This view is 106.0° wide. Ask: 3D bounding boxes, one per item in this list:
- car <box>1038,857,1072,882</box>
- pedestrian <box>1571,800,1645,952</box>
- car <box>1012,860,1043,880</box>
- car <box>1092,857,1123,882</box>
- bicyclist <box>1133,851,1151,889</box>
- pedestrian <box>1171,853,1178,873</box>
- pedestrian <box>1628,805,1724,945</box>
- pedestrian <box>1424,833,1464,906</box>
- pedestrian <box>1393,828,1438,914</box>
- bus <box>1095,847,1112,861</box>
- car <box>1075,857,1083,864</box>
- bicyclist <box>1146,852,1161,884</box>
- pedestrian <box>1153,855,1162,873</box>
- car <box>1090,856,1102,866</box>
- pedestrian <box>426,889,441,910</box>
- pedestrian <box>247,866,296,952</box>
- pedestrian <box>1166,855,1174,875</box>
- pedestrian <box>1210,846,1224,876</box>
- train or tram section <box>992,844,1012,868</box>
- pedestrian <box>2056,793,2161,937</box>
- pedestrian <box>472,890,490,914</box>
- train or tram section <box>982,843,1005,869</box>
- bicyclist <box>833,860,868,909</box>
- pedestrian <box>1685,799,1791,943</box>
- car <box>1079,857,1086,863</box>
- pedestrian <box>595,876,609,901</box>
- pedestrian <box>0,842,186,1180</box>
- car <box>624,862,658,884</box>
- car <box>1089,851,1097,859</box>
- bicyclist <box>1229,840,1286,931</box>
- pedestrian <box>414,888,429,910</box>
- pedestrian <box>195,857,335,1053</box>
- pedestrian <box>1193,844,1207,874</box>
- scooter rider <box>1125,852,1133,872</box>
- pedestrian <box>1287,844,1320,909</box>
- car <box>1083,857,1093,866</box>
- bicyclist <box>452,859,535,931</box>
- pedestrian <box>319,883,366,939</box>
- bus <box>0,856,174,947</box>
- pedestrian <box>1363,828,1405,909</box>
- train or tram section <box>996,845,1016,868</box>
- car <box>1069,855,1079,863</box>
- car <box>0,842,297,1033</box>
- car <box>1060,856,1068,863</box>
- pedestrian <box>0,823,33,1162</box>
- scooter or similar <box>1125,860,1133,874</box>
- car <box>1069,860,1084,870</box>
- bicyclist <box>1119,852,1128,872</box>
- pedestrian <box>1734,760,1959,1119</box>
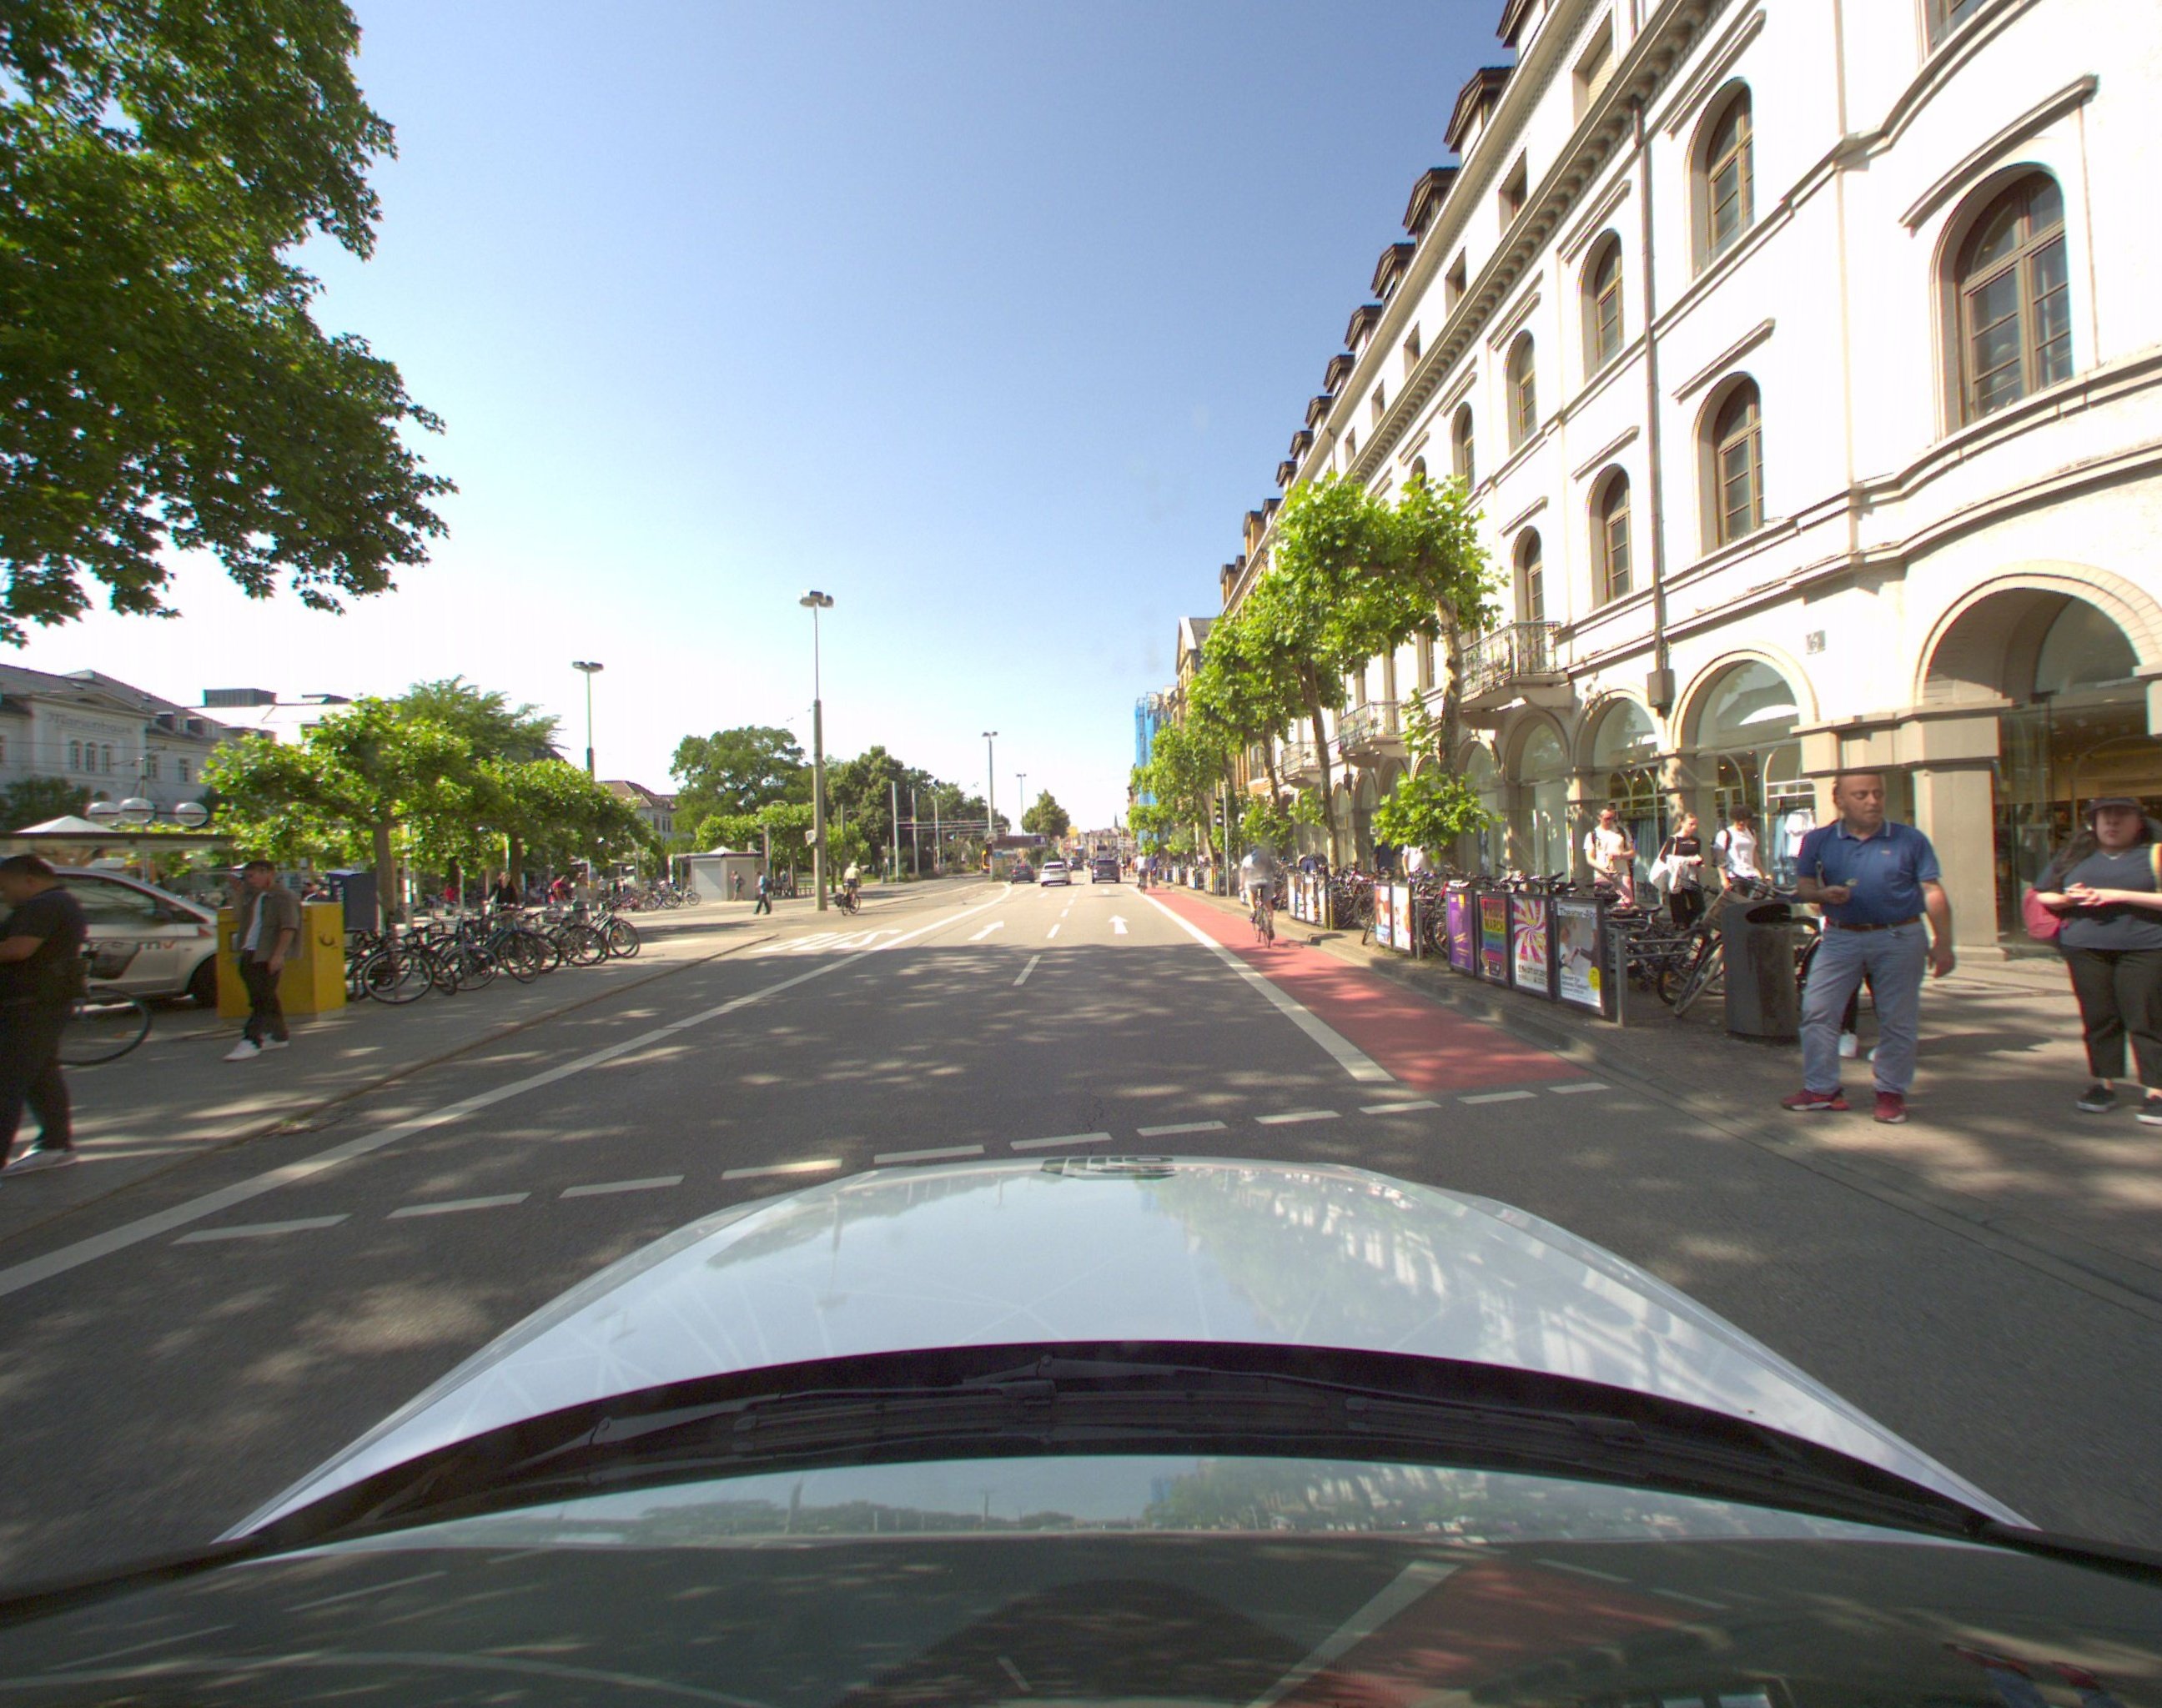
[{"bbox_3d":[-1.582,0.964,50.776,1.852,1.507,4.001,0,-1,1],"label":"car"},{"bbox_3d":[6.682,0.272,10.349,0.543,1.882,0.602,0,-1,-2],"label":"pedestrian"},{"bbox_3d":[-3.992,1.198,61.496,1.986,1.508,4.001,0,-1,1],"label":"car"},{"bbox_3d":[1.678,0.948,51.605,1.867,1.493,4.001,0,-1,1],"label":"car"},{"bbox_3d":[2.578,0.678,34.540,0.686,1.577,1.049,0,-1,1],"label":"bicyclist"},{"bbox_3d":[8.196,0.773,71.220,0.380,1.683,0.475,-3,-1,-7],"label":"pedestrian"},{"bbox_3d":[7.634,0.263,10.476,0.672,1.740,0.753,0,-1,-2],"label":"pedestrian"},{"bbox_3d":[8.506,0.358,19.092,0.654,1.696,0.676,0,-1,2],"label":"pedestrian"},{"bbox_3d":[7.146,0.351,17.428,0.631,1.793,0.776,0,-1,-2],"label":"pedestrian"},{"bbox_3d":[4.334,0.028,160.040,2.961,2.776,8.635,0,0,-2],"label":"bus"},{"bbox_3d":[-0.420,1.169,151.267,1.447,1.301,3.341,0,-1,0],"label":"car"},{"bbox_3d":[3.595,0.700,40.694,0.686,1.616,0.918,0,-1,1],"label":"bicyclist"},{"bbox_3d":[8.019,1.015,85.093,0.810,1.848,0.893,-3,-1,8],"label":"pedestrian"},{"bbox_3d":[2.044,0.983,111.609,1.448,1.301,3.337,0,-1,-3],"label":"car"},{"bbox_3d":[-39.633,2.788,49.856,0.513,1.263,0.455,-4,0,17],"label":"pedestrian"},{"bbox_3d":[-17.774,1.194,17.886,0.628,1.794,0.672,-4,0,-42],"label":"pedestrian"},{"bbox_3d":[7.746,0.933,71.061,0.498,1.683,0.535,-3,-1,-10],"label":"pedestrian"},{"bbox_3d":[8.248,0.398,49.350,0.664,1.781,0.986,-2,-1,5],"label":"pedestrian"},{"bbox_3d":[-12.207,0.352,126.501,2.605,3.581,5.356,0,-1,0],"label":"train or tram section"},{"bbox_3d":[12.389,0.130,9.826,0.614,1.668,0.691,-1,-1,35],"label":"pedestrian"},{"bbox_3d":[-38.762,3.090,52.639,0.620,1.466,0.682,-2,-2,7],"label":"pedestrian"},{"bbox_3d":[-12.284,0.258,114.692,2.605,3.581,6.103,0,-1,0],"label":"train or tram section"},{"bbox_3d":[-7.987,1.029,28.250,0.814,1.622,0.903,-3,0,3],"label":"bicyclist"},{"bbox_3d":[8.421,0.214,10.472,0.717,1.782,0.776,0,-1,-2],"label":"pedestrian"},{"bbox_3d":[0.394,1.323,174.339,1.447,1.301,3.340,0,-1,-1],"label":"car"},{"bbox_3d":[-28.557,2.076,48.579,0.683,1.466,0.618,0,-2,-36],"label":"pedestrian"},{"bbox_3d":[-5.436,0.766,4.326,0.623,1.648,0.756,0,-1,26],"label":"pedestrian"},{"bbox_3d":[-67.410,2.913,124.900,2.120,3.316,5.419,0,-1,0],"label":"car"},{"bbox_3d":[3.158,0.198,207.272,1.986,2.014,4.001,0,-1,1],"label":"car"},{"bbox_3d":[2.940,0.511,13.671,0.686,1.463,1.142,0,-1,-1],"label":"bicyclist"},{"bbox_3d":[-40.014,2.743,49.419,0.513,1.263,0.455,-4,0,17],"label":"pedestrian"},{"bbox_3d":[-7.428,0.879,7.448,0.642,1.691,0.640,0,-1,-13],"label":"pedestrian"},{"bbox_3d":[6.332,0.266,43.436,0.651,1.633,0.730,0,-1,-2],"label":"pedestrian"},{"bbox_3d":[4.070,0.665,68.918,0.686,1.729,0.778,0,-1,0],"label":"scooter rider"},{"bbox_3d":[5.315,0.539,19.518,0.602,1.538,0.666,0,-1,-1],"label":"pedestrian"},{"bbox_3d":[0.995,1.115,123.492,1.447,1.301,3.340,0,-1,-1],"label":"car"},{"bbox_3d":[-12.554,0.862,17.435,1.153,1.498,0.832,0,-1,1],"label":"bicyclist"},{"bbox_3d":[-21.222,1.631,23.405,0.621,1.524,0.680,-4,0,0],"label":"pedestrian"},{"bbox_3d":[-42.825,1.784,29.854,3.031,3.420,12.520,0,-1,19],"label":"bus"},{"bbox_3d":[7.215,0.345,19.387,0.698,1.902,0.776,0,-1,-2],"label":"pedestrian"},{"bbox_3d":[-12.167,0.401,132.587,2.605,3.581,6.897,0,-1,0],"label":"train or tram section"},{"bbox_3d":[-1.153,0.771,133.888,1.446,1.301,4.001,0,0,2],"label":"car"},{"bbox_3d":[-12.349,0.880,8.874,1.976,2.014,5.093,0,-1,22],"label":"car"},{"bbox_3d":[-3.297,1.013,156.811,1.446,1.301,4.001,0,0,2],"label":"car"},{"bbox_3d":[-6.144,0.749,4.200,0.513,1.836,0.717,0,-1,8],"label":"pedestrian"},{"bbox_3d":[4.052,1.122,68.877,0.686,1.167,1.464,0,-1,1],"label":"scooter or similar"},{"bbox_3d":[-0.510,1.424,104.989,1.809,1.332,4.001,0,0,1],"label":"car"},{"bbox_3d":[3.453,0.647,65.988,0.686,1.577,1.049,0,-1,-1],"label":"bicyclist"},{"bbox_3d":[4.289,0.441,4.606,0.577,1.846,0.715,0,-1,-11],"label":"pedestrian"}]
